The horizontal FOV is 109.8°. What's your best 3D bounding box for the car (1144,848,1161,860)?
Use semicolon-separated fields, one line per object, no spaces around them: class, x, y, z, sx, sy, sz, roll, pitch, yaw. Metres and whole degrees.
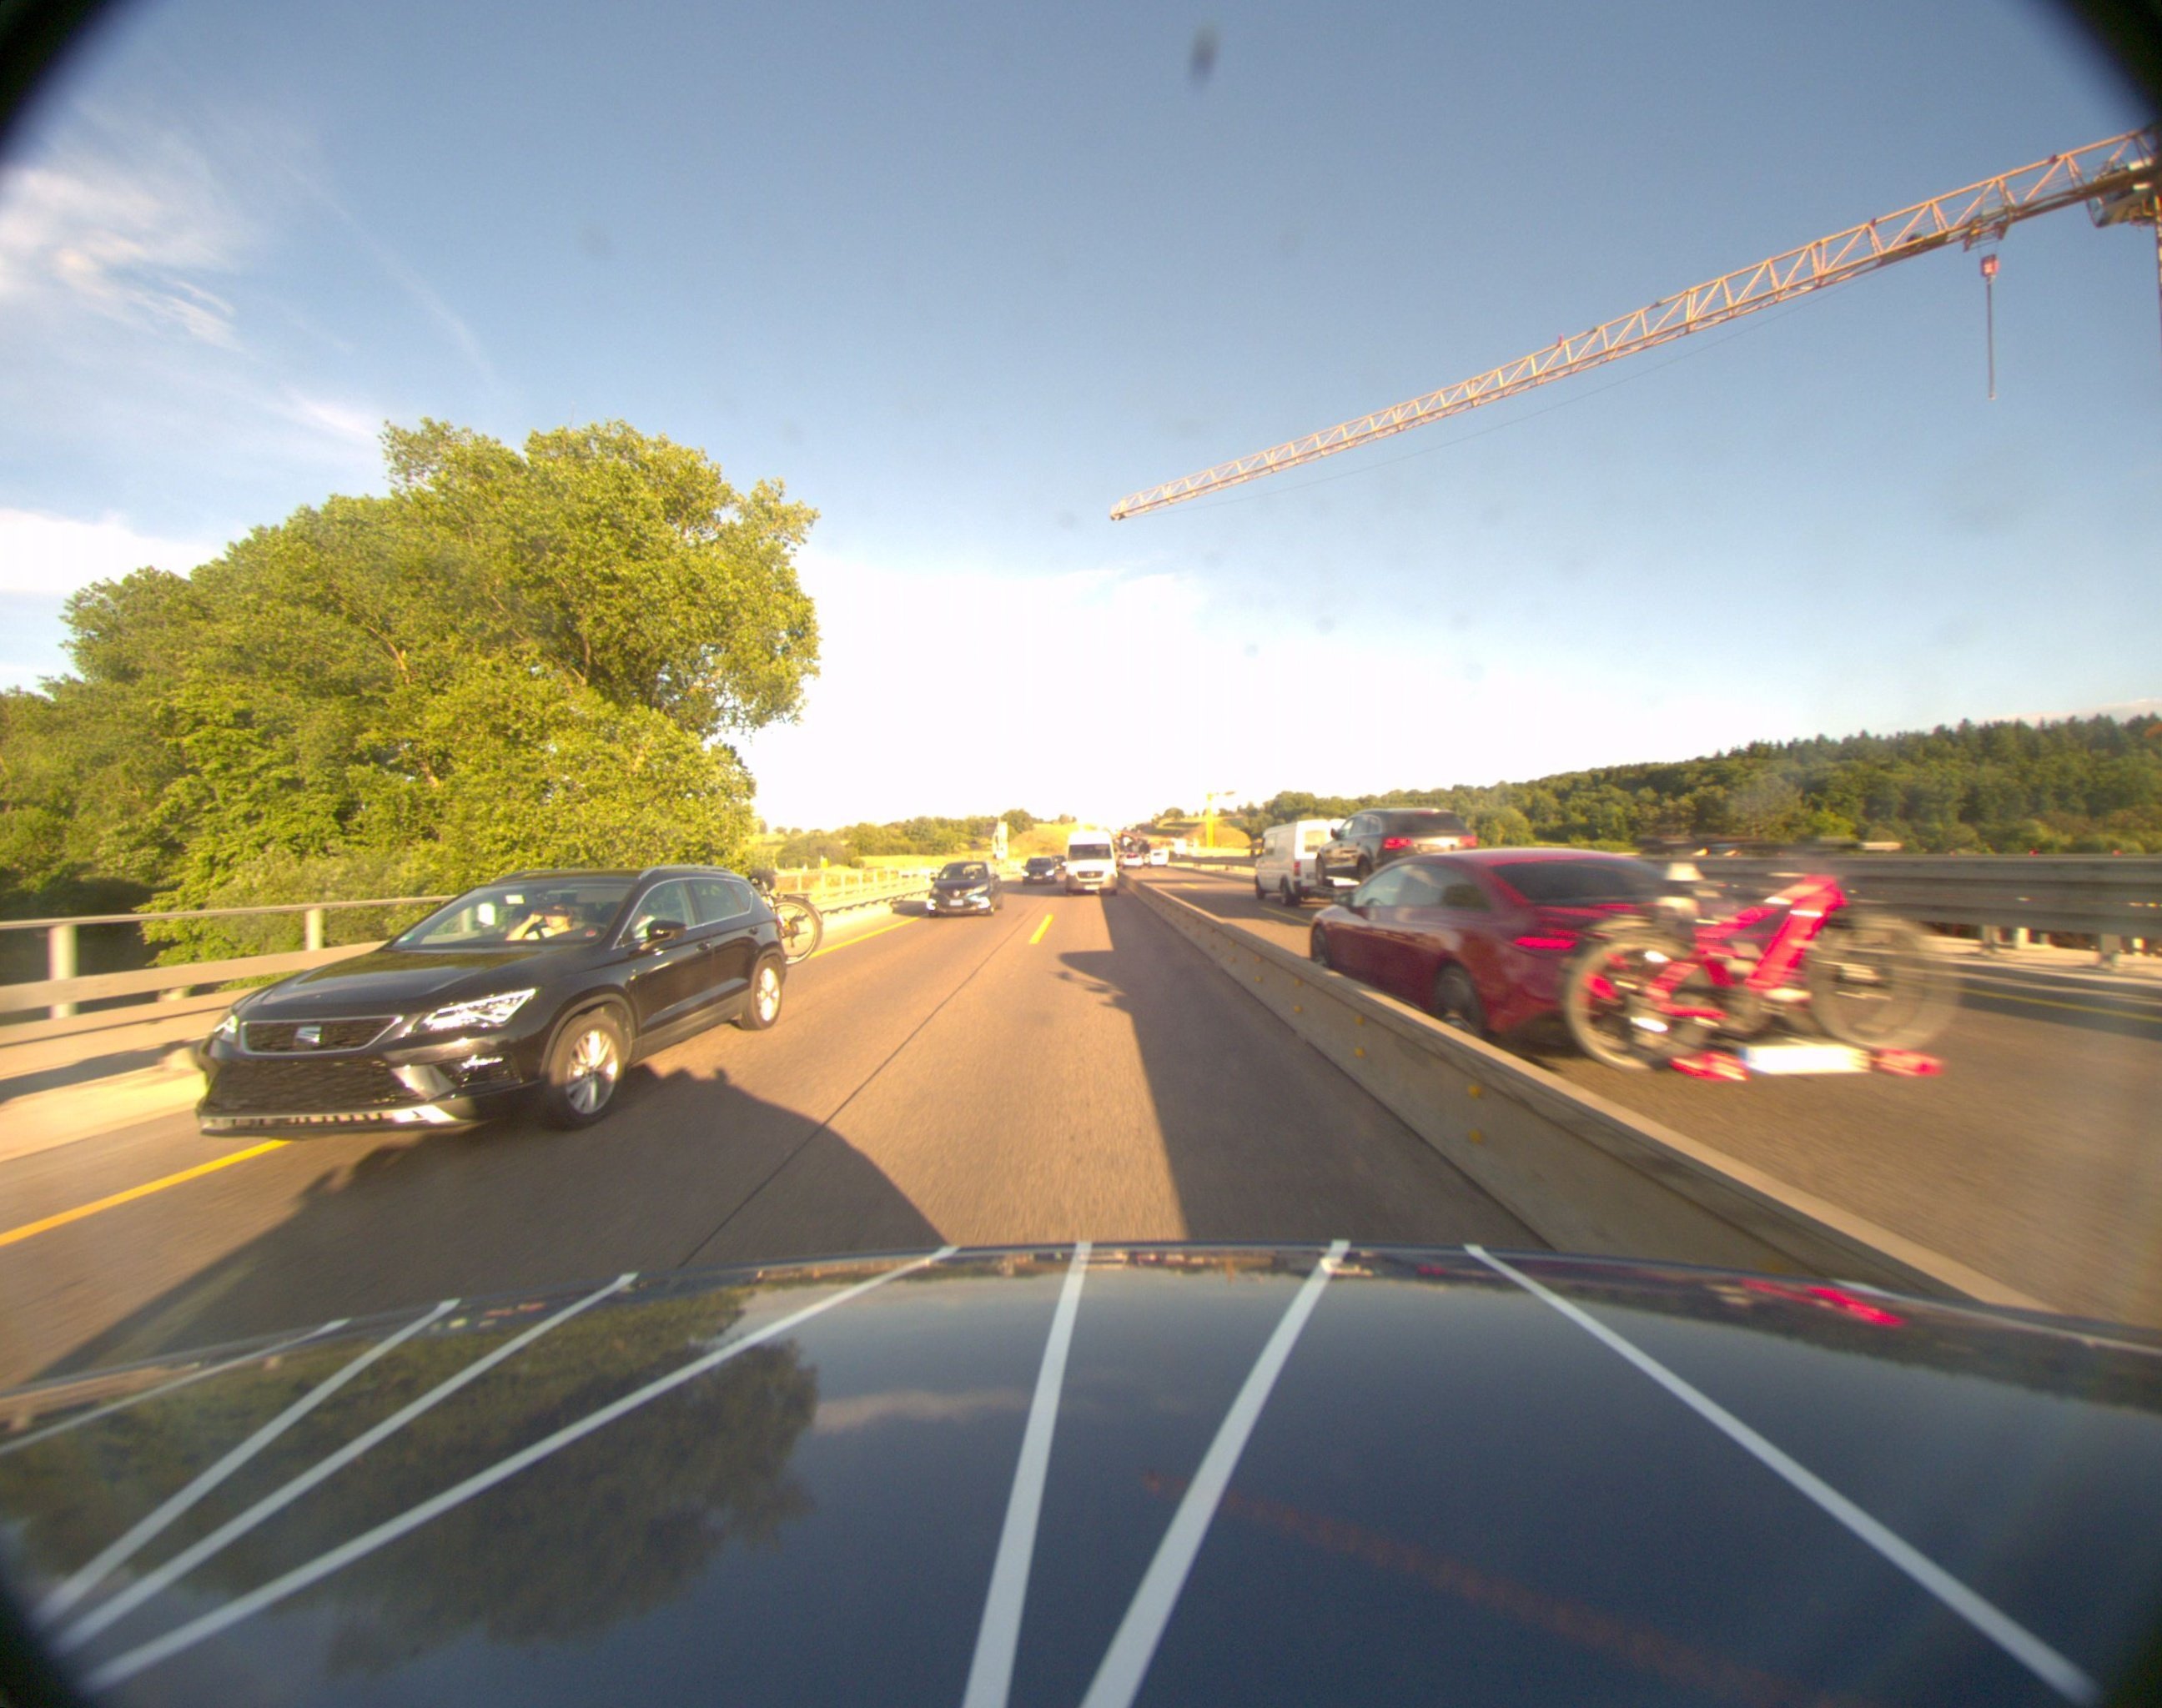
car;9.022;-0.009;96.288;1.933;1.537;4.288;-1;0;2

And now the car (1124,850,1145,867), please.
car;5.205;0.398;74.698;1.843;1.630;4.000;-1;0;1

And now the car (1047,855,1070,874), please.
car;-2.103;0.977;71.120;1.902;1.703;4.888;-2;0;0

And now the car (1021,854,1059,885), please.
car;-2.354;0.857;44.523;1.817;1.606;4.526;-4;0;0

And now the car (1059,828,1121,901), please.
car;0.428;0.373;29.476;2.109;2.518;5.221;-2;0;2

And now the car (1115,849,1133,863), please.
car;5.444;0.229;97.582;1.934;1.744;4.672;-3;0;-1

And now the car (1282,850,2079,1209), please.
car;3.416;0.771;6.246;1.998;1.521;5.781;-2;0;1

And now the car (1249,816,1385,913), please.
car;6.468;0.243;21.655;1.998;2.310;5.934;-2;0;0

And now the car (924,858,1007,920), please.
car;-3.276;0.958;22.234;1.778;1.576;4.135;-2;0;-1

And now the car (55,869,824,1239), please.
car;-3.886;1.008;6.097;1.880;1.590;4.965;-2;0;0

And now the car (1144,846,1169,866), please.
car;7.787;0.153;78.765;1.999;1.845;4.282;-5;0;0

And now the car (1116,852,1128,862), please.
car;7.834;0.510;144.903;1.998;1.748;4.660;-2;0;1

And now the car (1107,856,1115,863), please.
car;8.359;1.495;211.144;1.998;1.635;4.512;-3;0;1

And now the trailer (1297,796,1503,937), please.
trailer;6.398;0.220;16.073;2.082;2.406;5.218;-2;0;0
